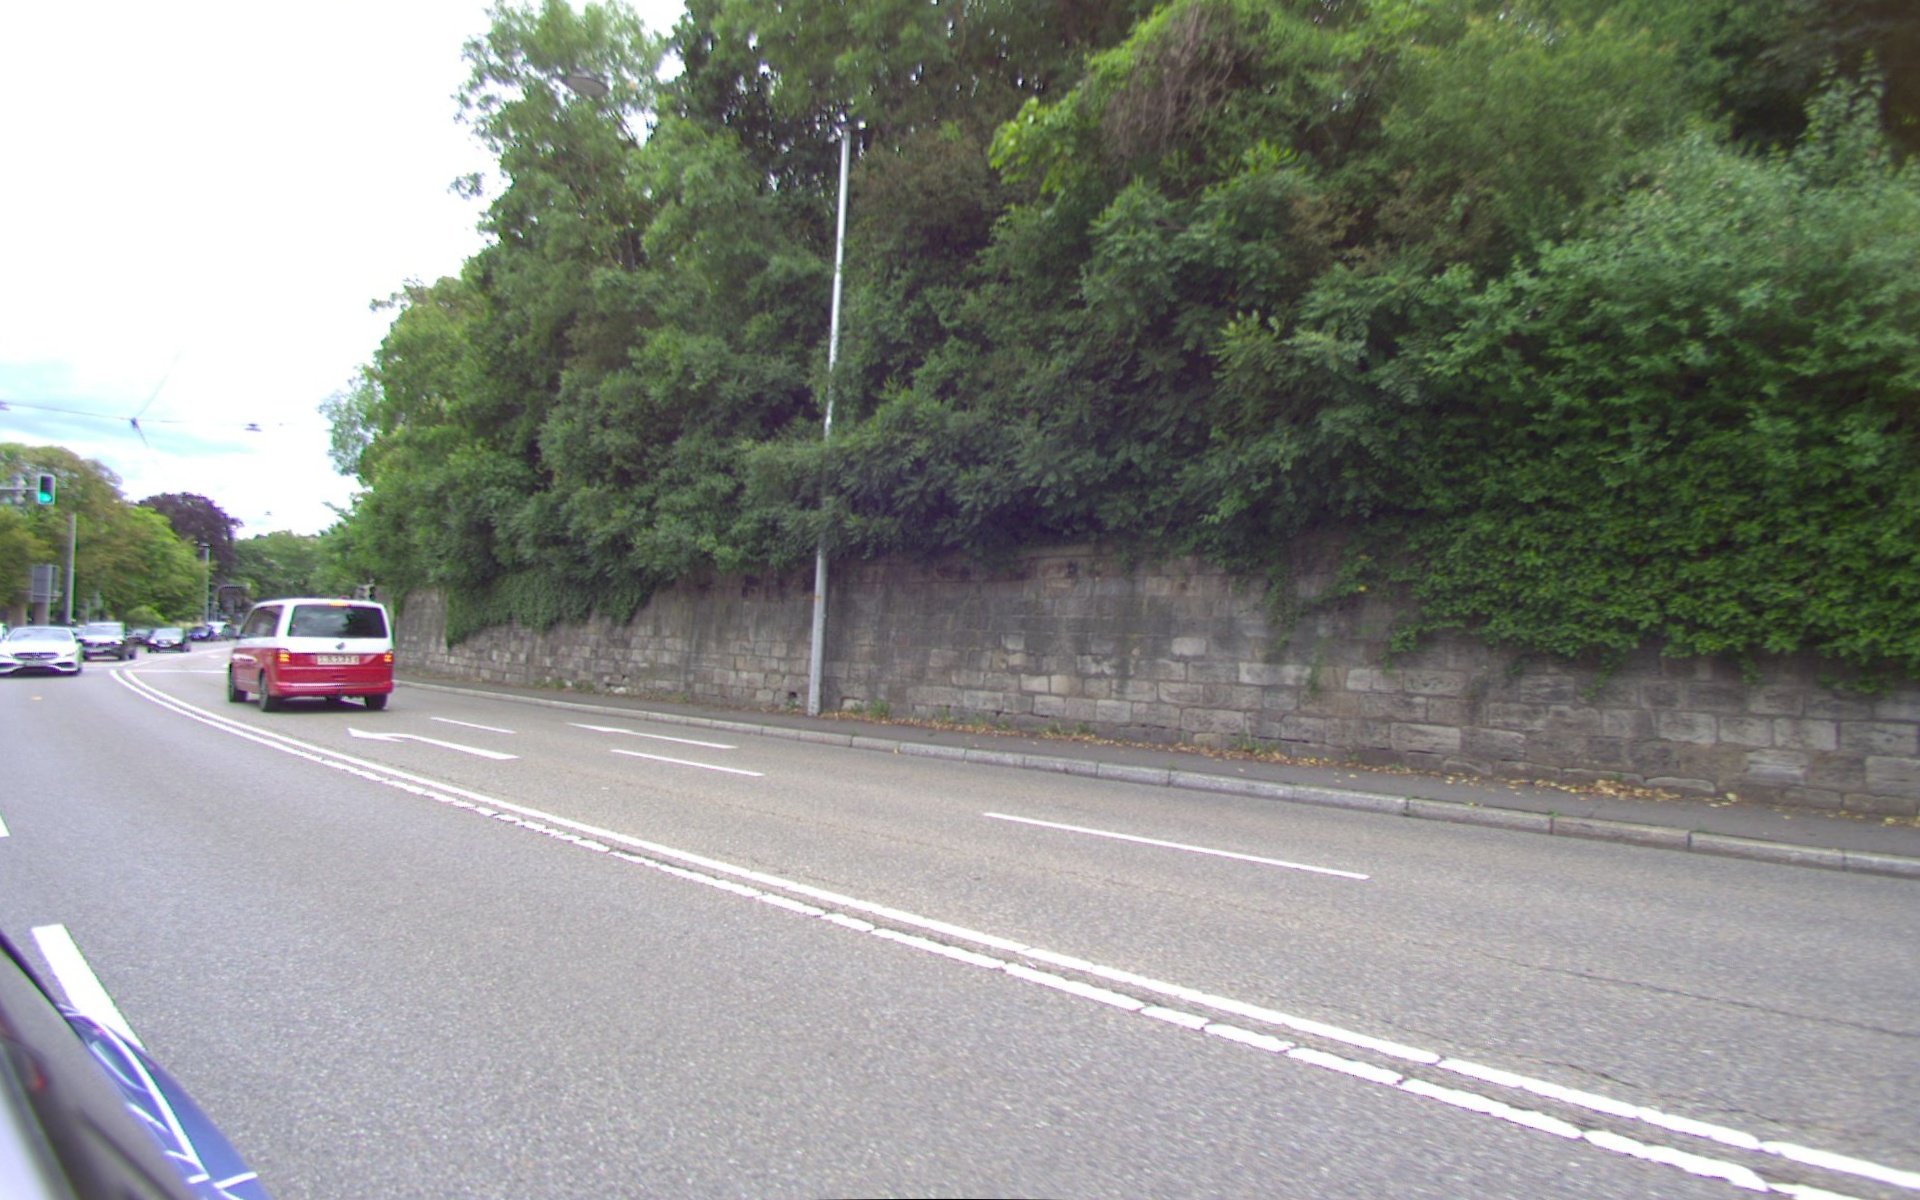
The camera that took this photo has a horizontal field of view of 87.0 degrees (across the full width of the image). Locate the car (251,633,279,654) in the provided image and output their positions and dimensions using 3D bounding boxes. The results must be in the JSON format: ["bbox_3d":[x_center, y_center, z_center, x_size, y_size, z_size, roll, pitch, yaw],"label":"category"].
[{"bbox_3d":[-54.387,3.428,79.181,1.731,1.578,3.688,3,-3,-35],"label":"car"}]

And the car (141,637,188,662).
[{"bbox_3d":[-47.192,2.947,60.090,1.805,1.387,4.011,3,-3,-33],"label":"car"}]

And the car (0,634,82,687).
[{"bbox_3d":[-26.357,1.708,28.922,1.776,1.401,3.533,3,-4,-40],"label":"car"}]

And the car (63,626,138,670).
[{"bbox_3d":[-36.584,2.039,43.164,1.927,1.753,4.010,3,-3,-34],"label":"car"}]

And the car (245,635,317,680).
[{"bbox_3d":[-24.805,2.074,36.909,1.759,1.478,4.108,5,-5,-38],"label":"car"}]

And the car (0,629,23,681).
[{"bbox_3d":[-34.801,1.897,35.825,1.927,1.785,4.008,3,-3,-37],"label":"car"}]
